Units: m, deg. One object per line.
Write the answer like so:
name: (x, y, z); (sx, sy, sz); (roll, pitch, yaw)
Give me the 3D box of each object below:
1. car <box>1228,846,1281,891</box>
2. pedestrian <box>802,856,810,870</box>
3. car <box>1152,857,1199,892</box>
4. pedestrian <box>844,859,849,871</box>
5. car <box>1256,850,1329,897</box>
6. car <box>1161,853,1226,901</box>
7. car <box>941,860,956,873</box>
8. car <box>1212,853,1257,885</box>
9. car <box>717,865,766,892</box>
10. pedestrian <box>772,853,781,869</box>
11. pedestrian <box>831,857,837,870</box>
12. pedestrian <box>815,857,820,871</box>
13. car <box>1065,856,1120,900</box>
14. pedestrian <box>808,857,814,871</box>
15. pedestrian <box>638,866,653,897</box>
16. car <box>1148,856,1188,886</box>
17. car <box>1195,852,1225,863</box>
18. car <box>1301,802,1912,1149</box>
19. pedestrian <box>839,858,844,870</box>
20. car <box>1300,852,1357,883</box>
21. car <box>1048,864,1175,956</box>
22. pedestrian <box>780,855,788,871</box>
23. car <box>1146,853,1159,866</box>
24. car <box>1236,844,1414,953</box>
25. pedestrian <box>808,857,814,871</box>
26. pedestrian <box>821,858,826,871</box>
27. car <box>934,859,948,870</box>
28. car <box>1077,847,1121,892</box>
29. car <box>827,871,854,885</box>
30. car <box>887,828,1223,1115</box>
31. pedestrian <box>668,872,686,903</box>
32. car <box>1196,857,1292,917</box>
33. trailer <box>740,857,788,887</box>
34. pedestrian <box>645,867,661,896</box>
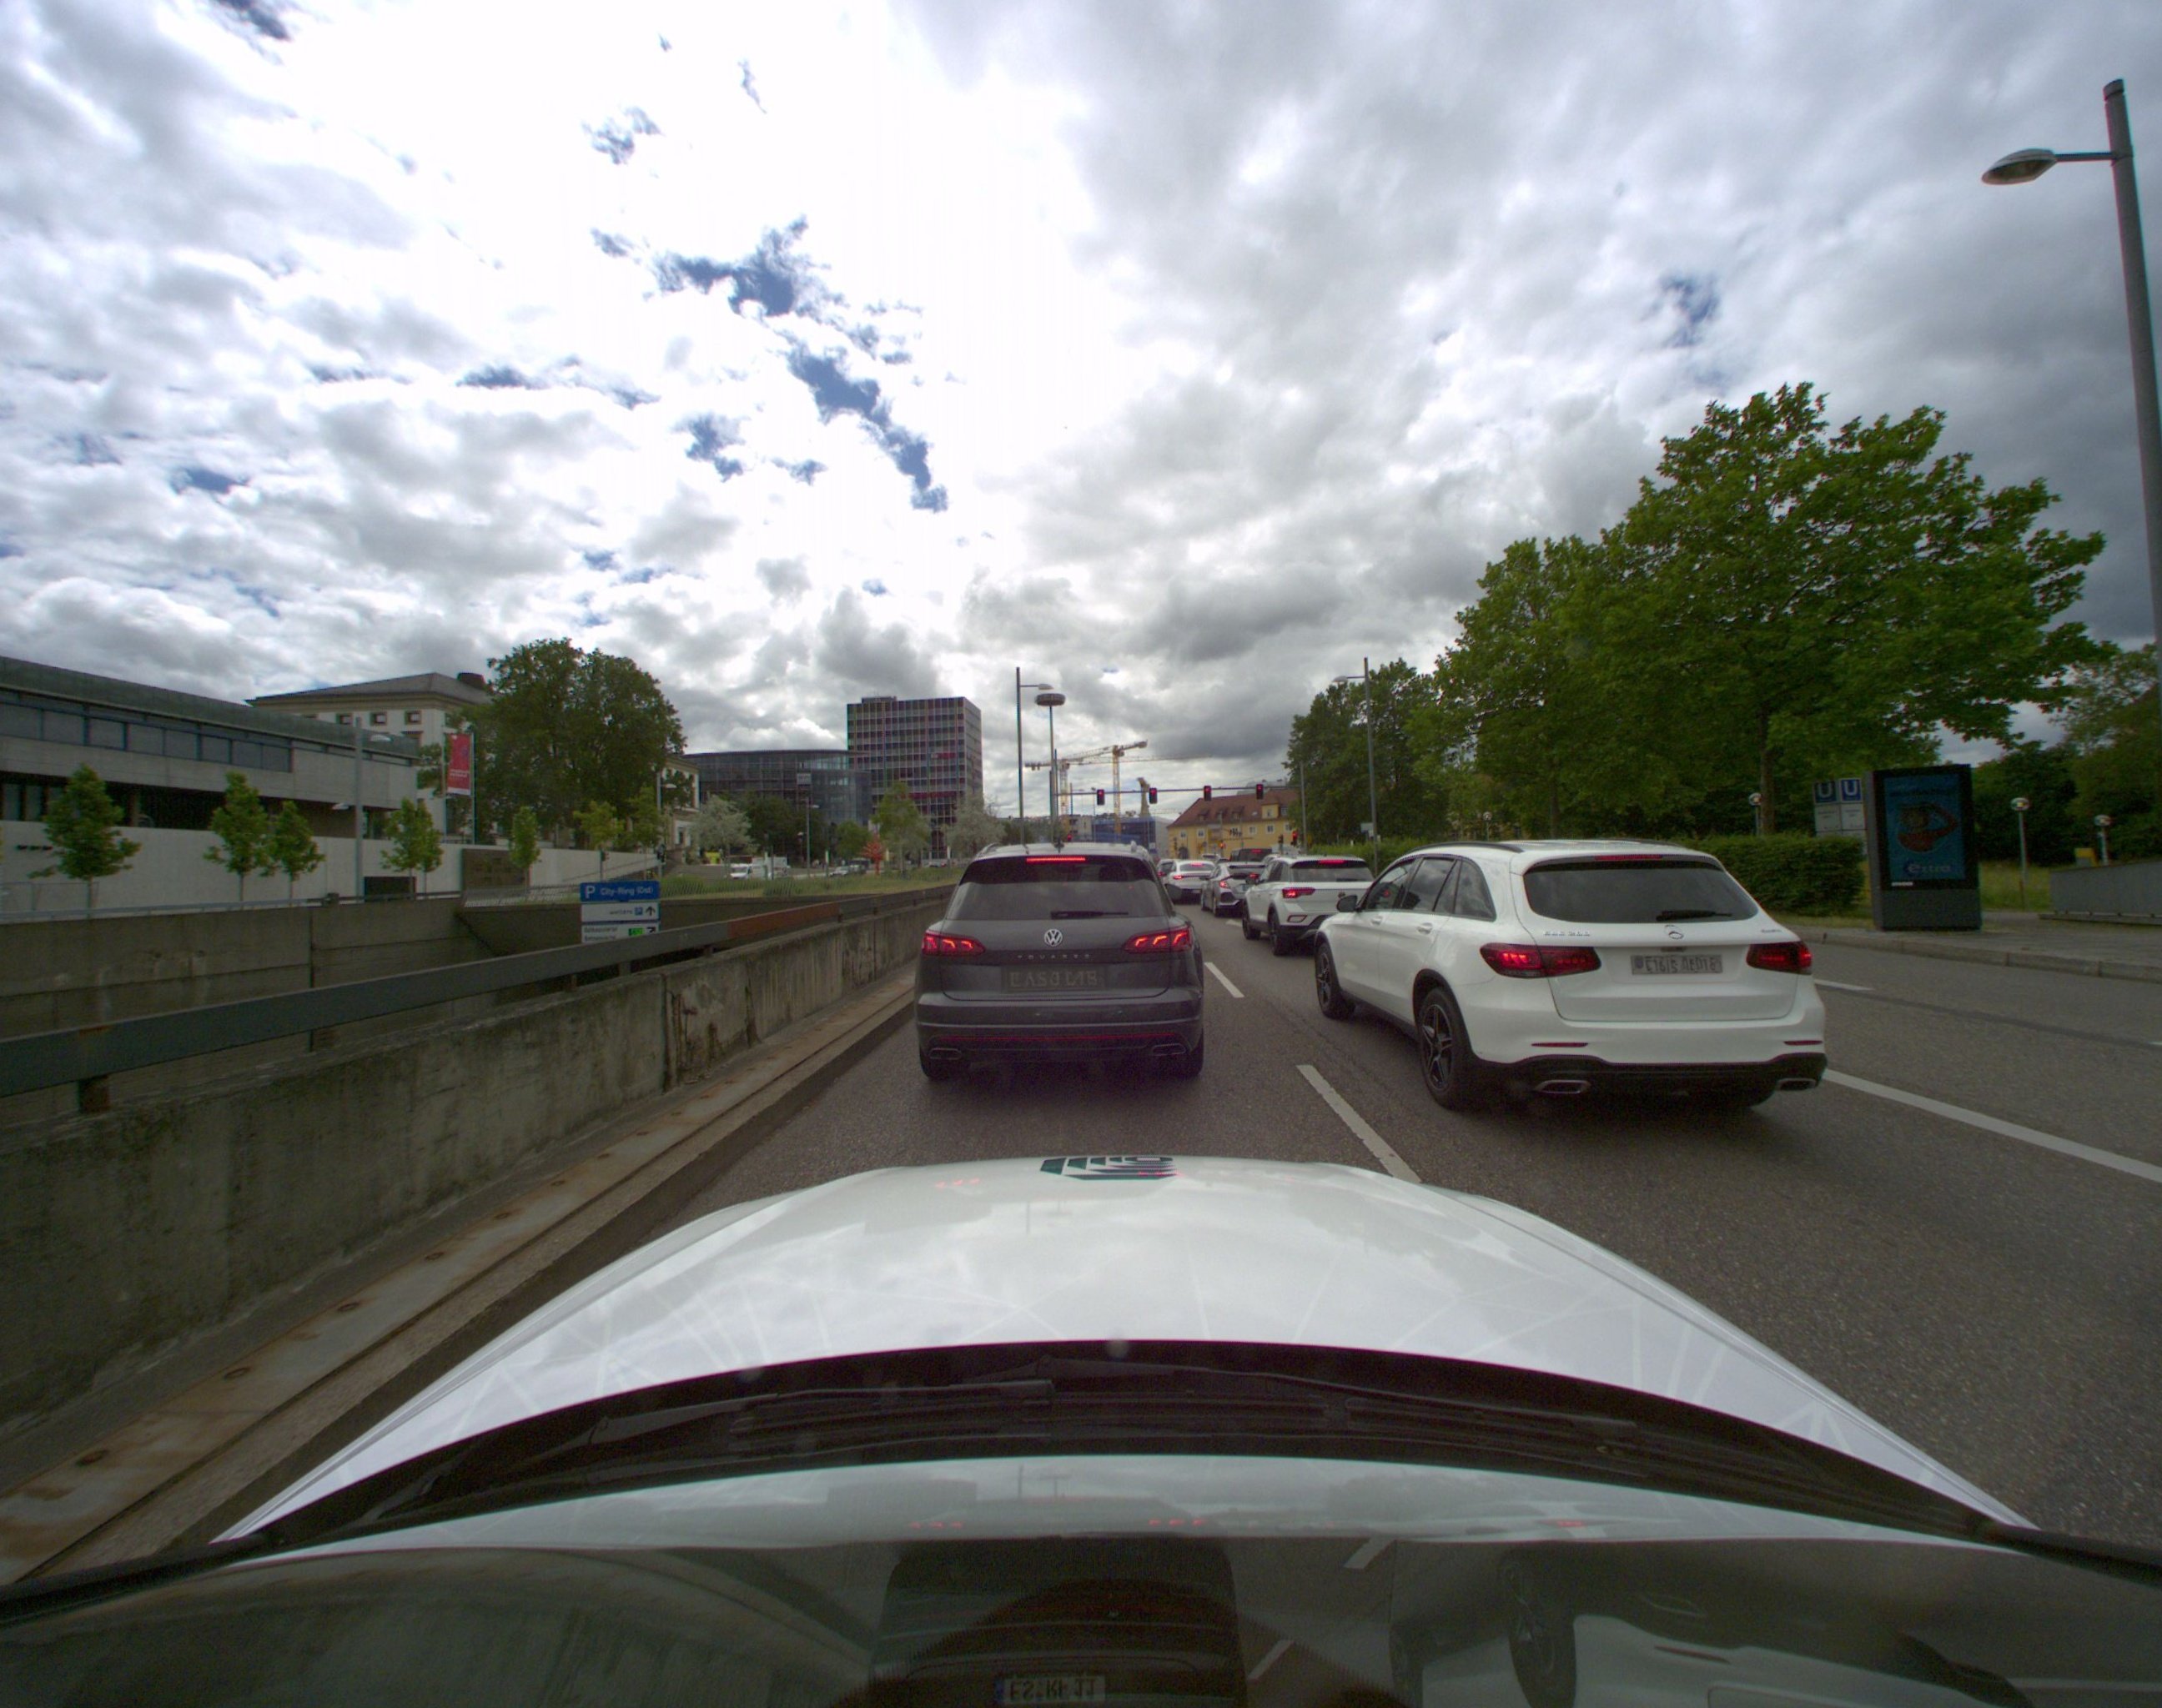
car: (8.260, 0.684, 39.057); (1.902, 2.014, 4.014); (0, -1, 3)
pedestrian: (-40.835, 1.371, 120.878); (0.735, 2.013, 0.793); (-2, 1, 2)
car: (4.339, 0.936, 37.779); (1.918, 1.529, 4.050); (-1, -1, 3)
pedestrian: (-40.871, 1.861, 141.990); (0.739, 2.013, 0.789); (-2, 1, -14)
car: (8.176, 0.710, 31.859); (1.984, 1.640, 4.309); (-1, 0, 4)
car: (3.904, 0.794, 28.964); (1.918, 1.529, 4.493); (-1, -1, 3)
car: (-23.801, 2.214, 146.557); (1.989, 2.013, 4.687); (-2, 1, -3)
car: (8.343, 0.820, 44.637); (1.902, 1.697, 4.014); (0, -1, 3)
car: (-28.824, 2.041, 69.283); (1.985, 2.013, 4.695); (-2, 1, 3)
pedestrian: (-39.856, 0.884, 106.555); (0.737, 2.013, 1.113); (-2, 1, -3)
pedestrian: (-39.417, 1.538, 130.100); (0.739, 2.013, 0.789); (-2, 1, -14)
pedestrian: (-41.128, 1.562, 127.135); (0.740, 2.013, 0.915); (-2, 1, -18)
car: (0.477, 0.873, 31.151); (1.944, 1.600, 3.932); (0, 0, 1)
pedestrian: (-41.757, 1.527, 125.966); (0.740, 2.013, 0.915); (-2, 1, -17)
pedestrian: (-29.520, 1.837, 55.210); (0.838, 2.013, 0.786); (-2, 0, -27)
car: (4.658, 0.926, 44.064); (1.918, 1.529, 4.050); (-1, -1, 3)
car: (19.788, 0.549, 125.237); (4.173, 1.603, 1.764); (-1, -2, 38)
car: (3.148, 0.611, 6.213); (1.918, 1.653, 4.493); (-1, 0, 3)
pedestrian: (-41.689, 1.754, 141.854); (0.739, 2.013, 0.789); (-2, 1, -14)
car: (12.118, 0.677, 40.130); (1.921, 1.460, 4.535); (0, -1, 7)
car: (0.526, 0.879, 14.509); (1.944, 1.384, 3.932); (0, 0, 1)
pedestrian: (-39.025, 1.150, 107.103); (0.736, 2.014, 0.792); (-2, -3, -1)
car: (9.712, 0.735, 111.363); (1.612, 1.627, 4.002); (0, -2, 3)
car: (3.951, 0.679, 14.016); (1.918, 1.551, 4.493); (-1, -1, 3)
pedestrian: (-42.263, 1.562, 127.307); (0.741, 2.013, 0.914); (-2, 1, -22)
pedestrian: (-40.398, 1.591, 127.730); (0.741, 2.013, 1.076); (-2, 1, -20)
car: (-27.729, 2.048, 161.241); (2.000, 2.013, 4.661); (-2, 1, -20)
car: (0.874, 0.711, 38.684); (1.944, 2.018, 3.932); (0, 0, 1)
car: (-25.493, 2.536, 86.448); (1.727, 1.495, 3.594); (0, -2, 0)
car: (-0.098, 0.703, 6.784); (1.944, 1.651, 4.001); (-1, 0, 1)
pedestrian: (-26.903, 2.215, 54.215); (0.867, 2.013, 0.621); (-2, 1, -42)
car: (4.317, 0.851, 22.223); (1.918, 1.432, 4.493); (-1, -1, 3)
trailer: (-28.867, 1.612, 74.391); (2.030, 2.604, 5.511); (0, 0, 2)
pedestrian: (-30.903, 1.977, 58.808); (0.729, 2.012, 0.628); (-2, 4, -6)
